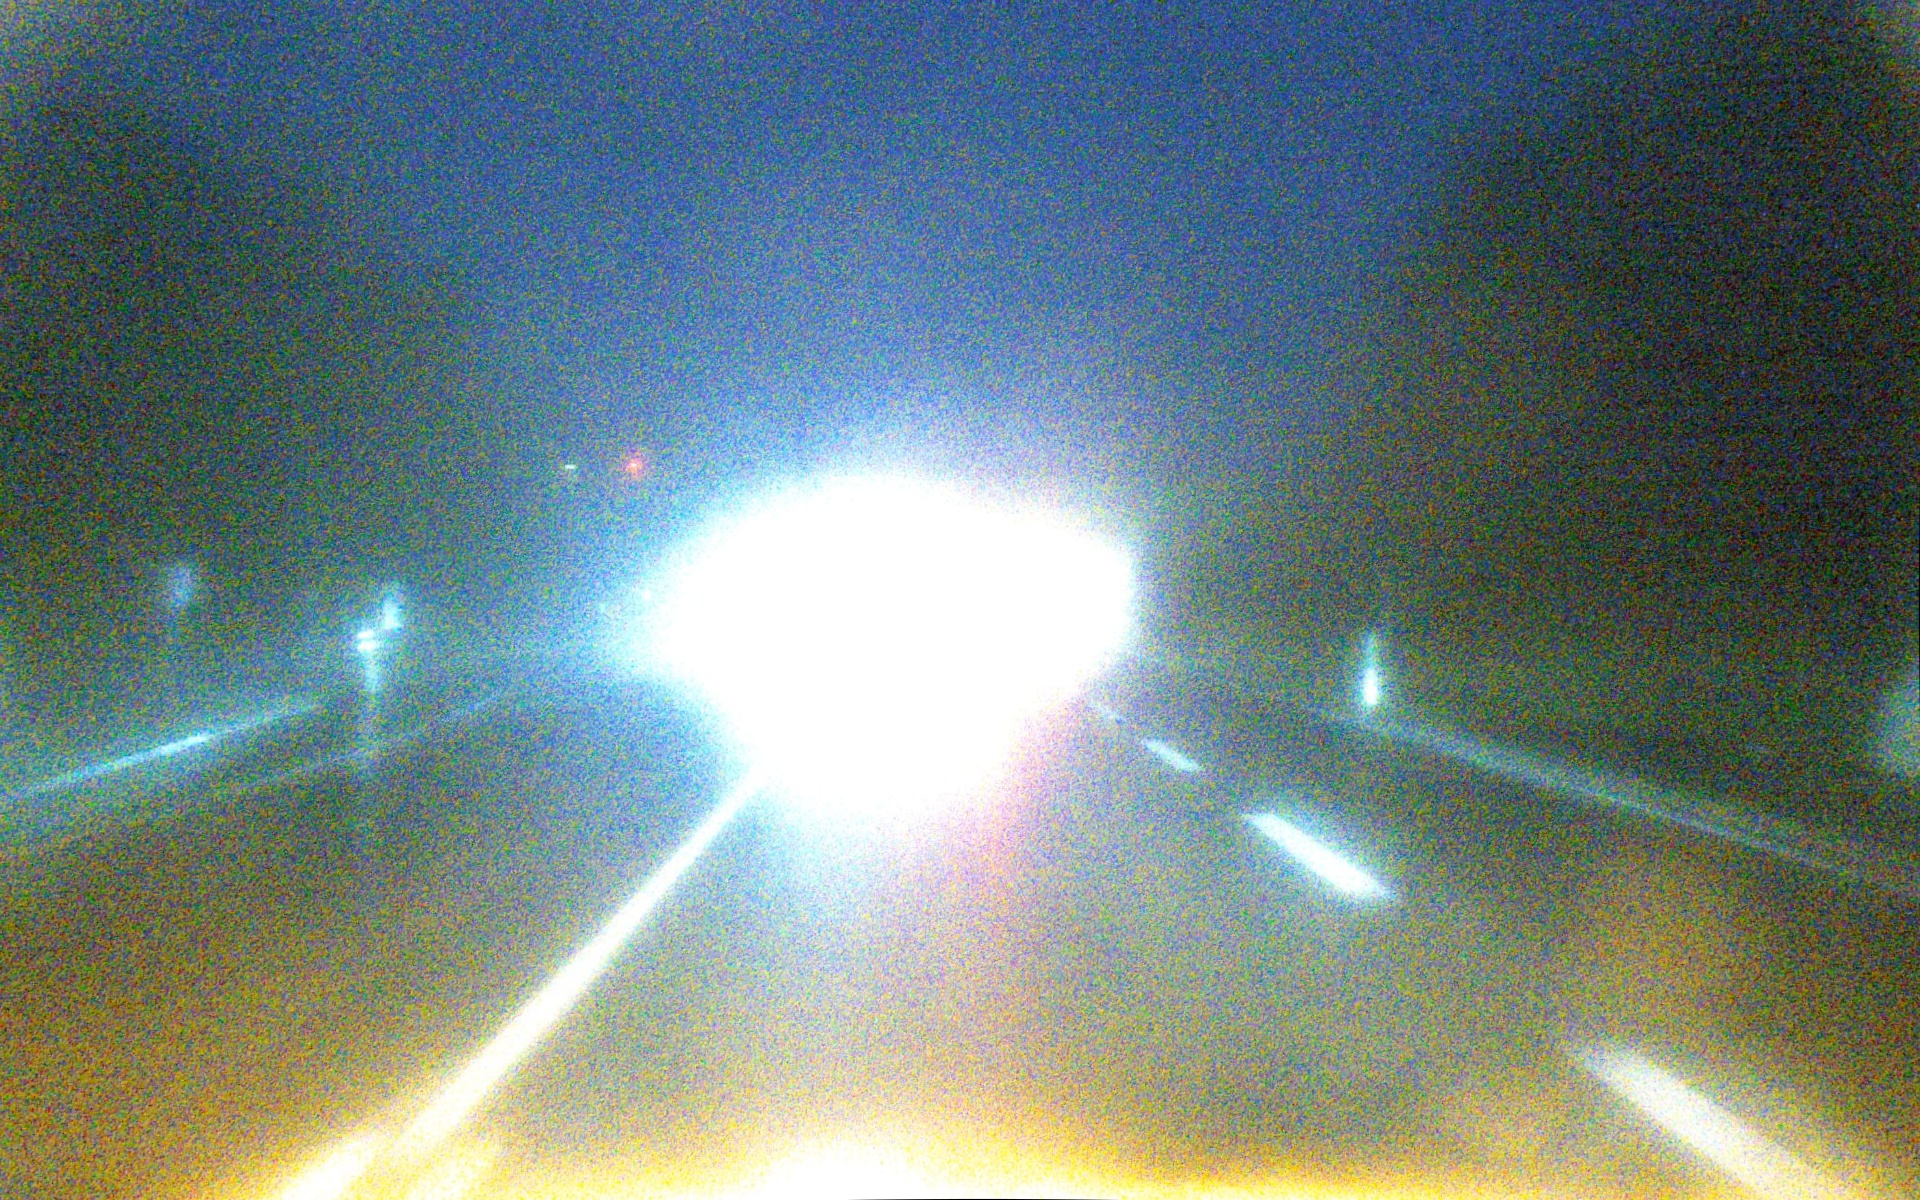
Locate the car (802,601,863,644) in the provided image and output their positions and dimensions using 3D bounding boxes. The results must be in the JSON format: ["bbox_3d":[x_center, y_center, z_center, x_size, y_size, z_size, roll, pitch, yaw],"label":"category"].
[{"bbox_3d":[-4.663,0.802,60.863,1.953,1.499,4.275,0,0,-1],"label":"car"}]

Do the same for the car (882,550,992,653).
[{"bbox_3d":[-0.465,0.027,28.882,1.772,1.650,3.998,-1,0,-3],"label":"car"}]
